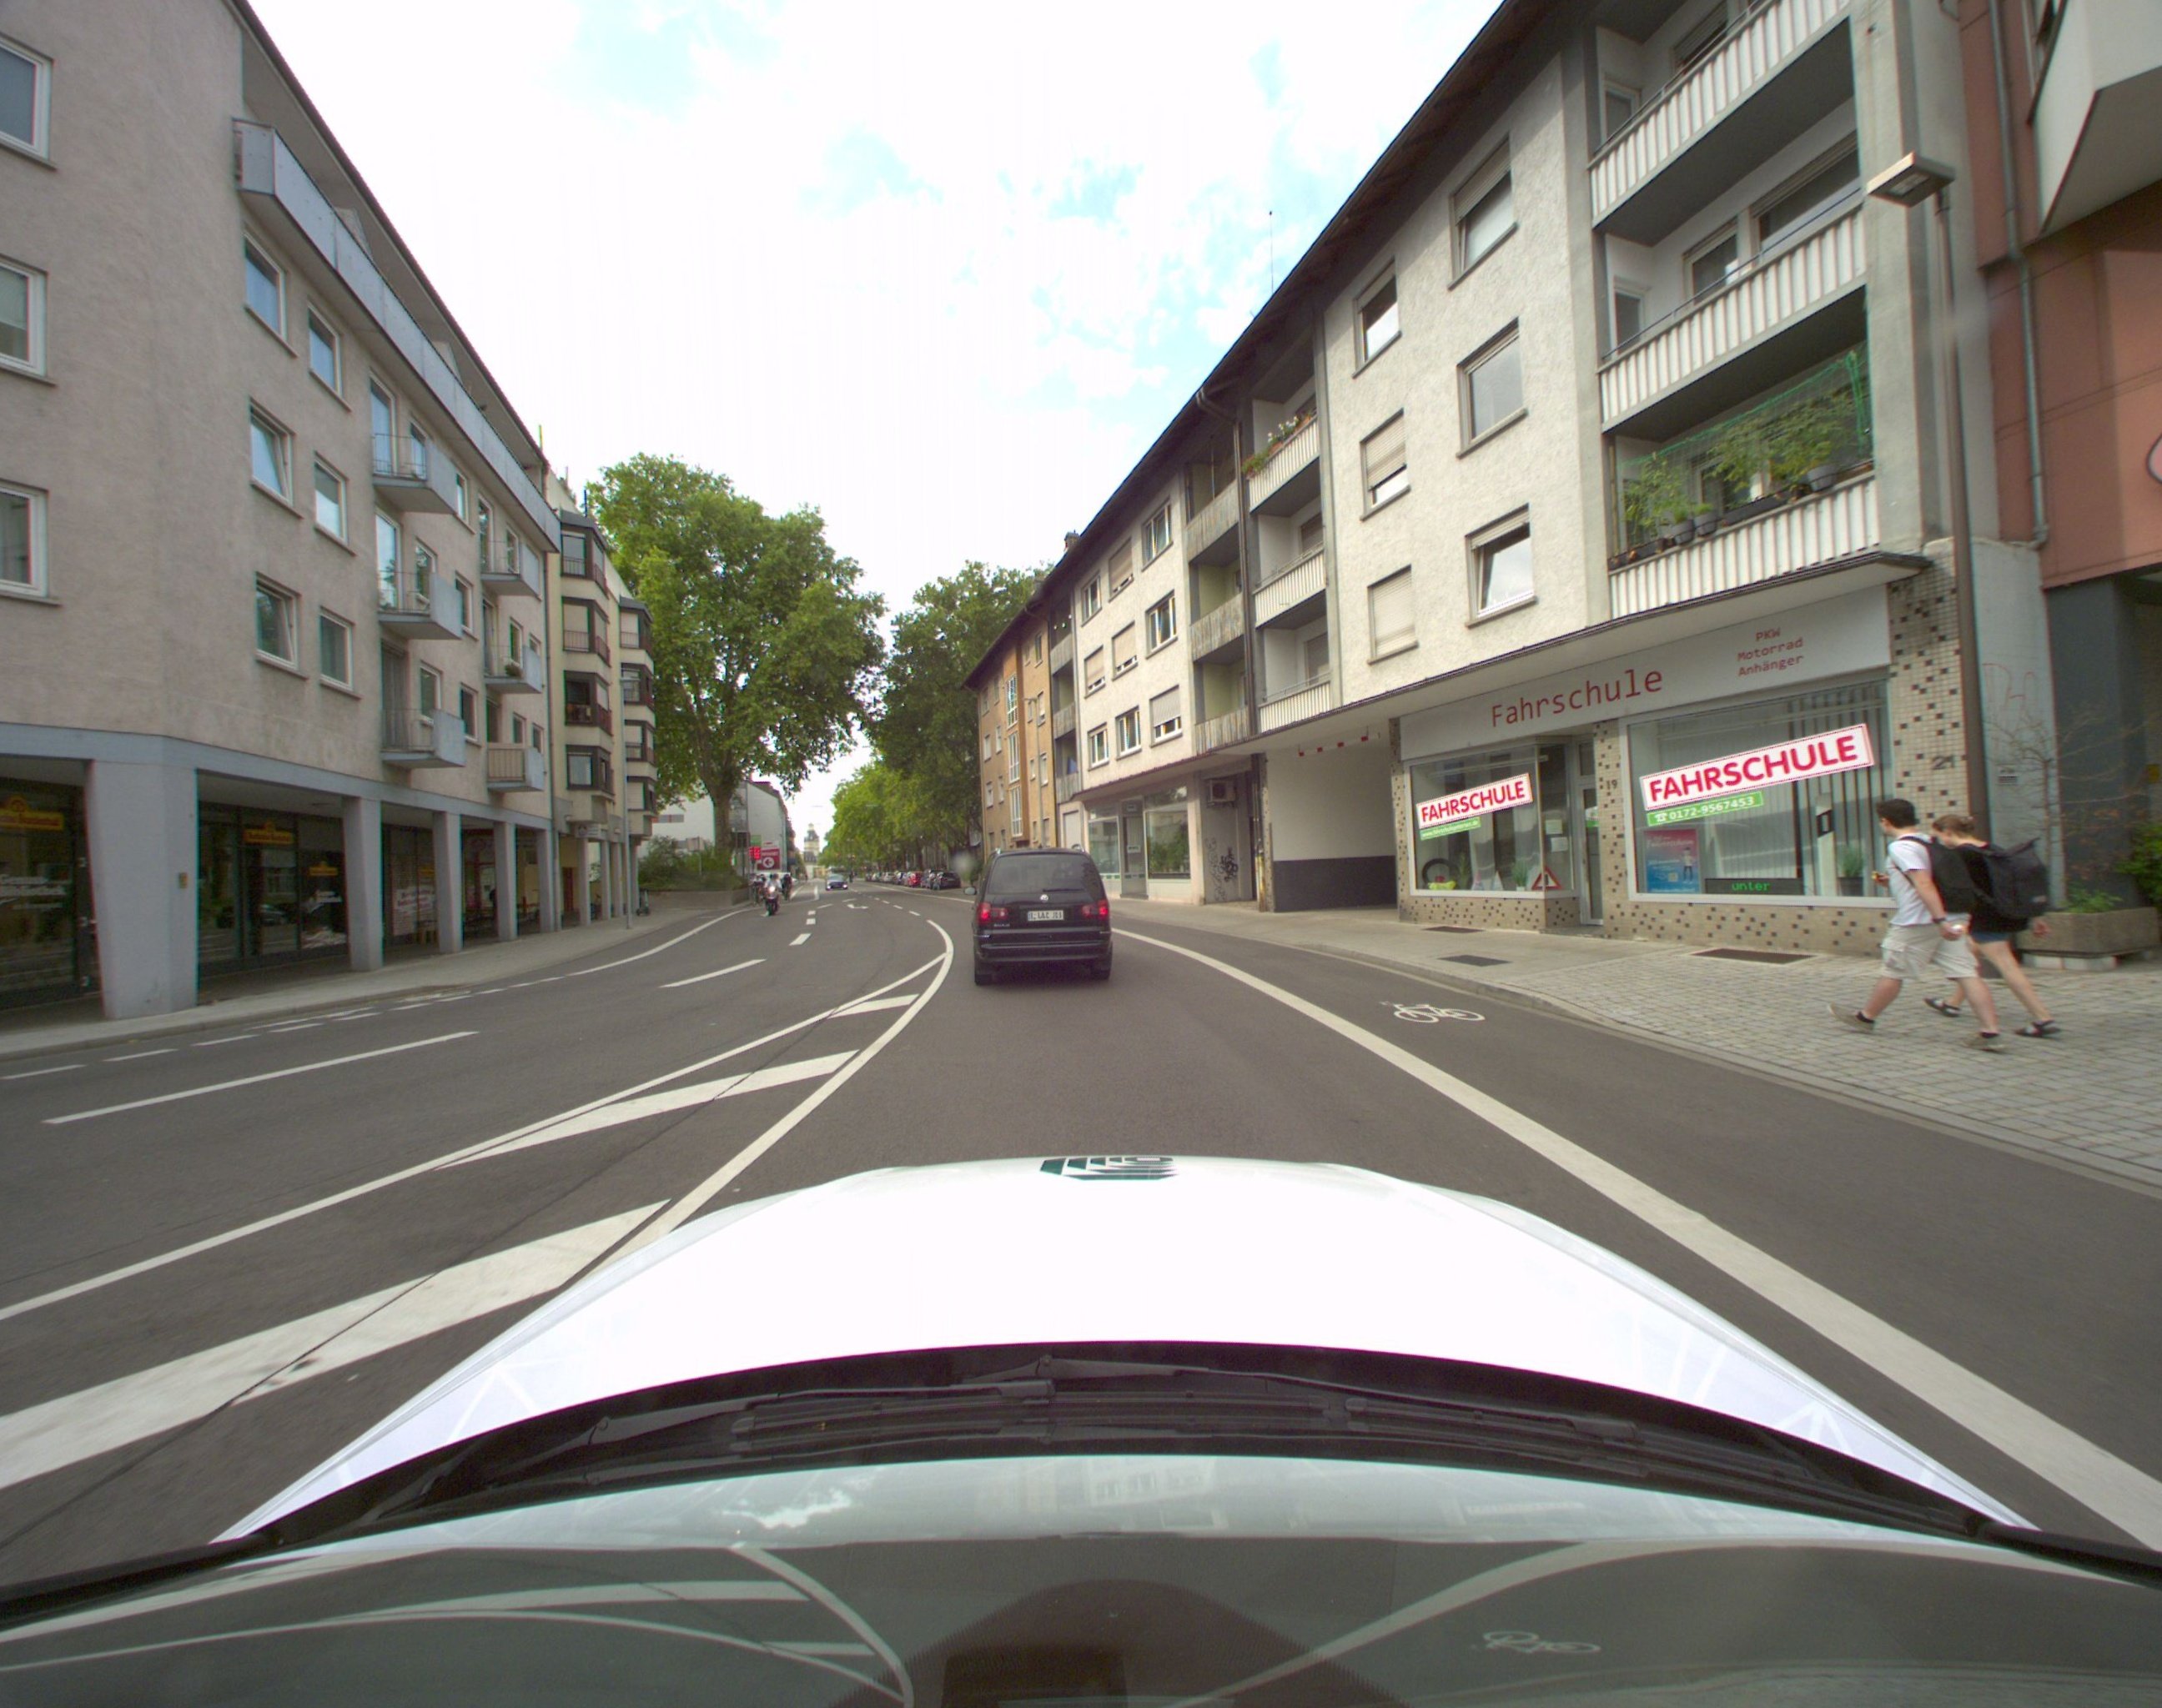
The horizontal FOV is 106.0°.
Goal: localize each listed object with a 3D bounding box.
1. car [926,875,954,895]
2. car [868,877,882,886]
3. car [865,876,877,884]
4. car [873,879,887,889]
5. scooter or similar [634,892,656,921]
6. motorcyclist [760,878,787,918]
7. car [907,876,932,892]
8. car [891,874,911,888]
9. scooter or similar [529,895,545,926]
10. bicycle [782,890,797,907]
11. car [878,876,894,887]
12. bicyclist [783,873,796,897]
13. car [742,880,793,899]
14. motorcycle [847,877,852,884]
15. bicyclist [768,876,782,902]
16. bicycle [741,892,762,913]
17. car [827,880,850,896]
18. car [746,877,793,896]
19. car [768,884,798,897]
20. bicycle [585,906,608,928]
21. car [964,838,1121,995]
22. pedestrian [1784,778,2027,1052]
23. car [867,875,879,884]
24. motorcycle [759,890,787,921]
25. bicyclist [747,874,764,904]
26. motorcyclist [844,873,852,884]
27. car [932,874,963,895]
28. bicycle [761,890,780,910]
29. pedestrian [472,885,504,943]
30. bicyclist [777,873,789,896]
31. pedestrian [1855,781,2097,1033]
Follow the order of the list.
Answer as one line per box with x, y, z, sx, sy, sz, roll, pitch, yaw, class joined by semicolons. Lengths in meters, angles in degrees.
-11.669;2.542;67.225;1.663;1.422;3.921;-3;0;-19;car
-32.554;4.319;128.491;1.648;1.395;3.486;0;-2;-22;car
-36.866;4.563;142.992;1.681;1.394;3.853;-2;-1;-19;car
-30.538;4.581;123.629;1.648;1.413;3.390;-2;-1;-22;car
-19.400;2.334;36.239;1.161;1.265;0.289;-4;-1;35;scooter or similar
-12.024;1.700;31.840;0.798;1.460;0.860;-5;-1;-15;motorcyclist
-15.242;2.816;76.738;1.681;1.394;4.431;-2;-1;-19;car
-20.216;3.089;91.515;1.635;1.470;4.289;-2;-1;-19;car
-22.628;2.350;33.874;0.287;1.201;1.168;-3;1;-22;scooter or similar
-18.822;2.868;52.626;0.739;1.007;1.966;-1;0;-15;bicycle
-26.116;3.647;109.067;1.681;1.394;4.431;-2;-1;-19;car
-18.958;2.006;52.981;0.658;1.525;0.852;-1;0;-14;bicyclist
-29.073;3.301;75.681;4.268;1.605;1.956;-1;0;-18;car
-35.393;4.059;124.377;0.627;0.930;2.388;-3;-1;-18;motorcycle
-17.954;2.053;47.837;0.658;1.525;0.836;-1;0;-14;bicyclist
-17.694;2.611;43.740;0.738;1.007;1.900;-1;0;-14;bicycle
-22.422;3.119;75.231;1.816;1.408;4.579;-3;-1;-18;car
-33.085;3.405;86.524;4.538;1.879;2.034;0;-2;-18;car
-35.804;4.402;98.033;3.354;1.497;1.585;-1;-2;-20;car
-20.373;2.643;34.272;0.430;0.821;1.609;-3;-1;-18;bicycle
-0.700;0.744;11.463;1.811;1.766;3.727;-2;0;-8;car
5.910;0.404;5.878;0.753;1.750;0.854;-7;0;-17;pedestrian
-35.236;4.364;138.048;1.681;1.394;3.853;-2;-1;-19;car
-12.021;1.987;31.863;0.723;1.094;2.025;-5;-1;-15;motorcycle
-17.490;1.871;43.779;0.658;1.525;0.997;-1;0;-14;bicyclist
-35.612;3.758;124.448;0.956;1.660;1.247;-3;-1;-19;motorcyclist
-10.304;2.307;62.643;1.663;1.422;3.841;-3;0;-19;car
-18.095;2.681;47.459;0.738;1.007;2.241;-1;0;-14;bicycle
-18.480;1.867;25.399;0.583;1.757;0.779;-1;-2;-18;pedestrian
-20.674;2.109;56.522;0.658;1.525;1.071;-1;0;-14;bicyclist
6.599;0.366;6.049;0.606;1.668;0.937;-6;0;-20;pedestrian
